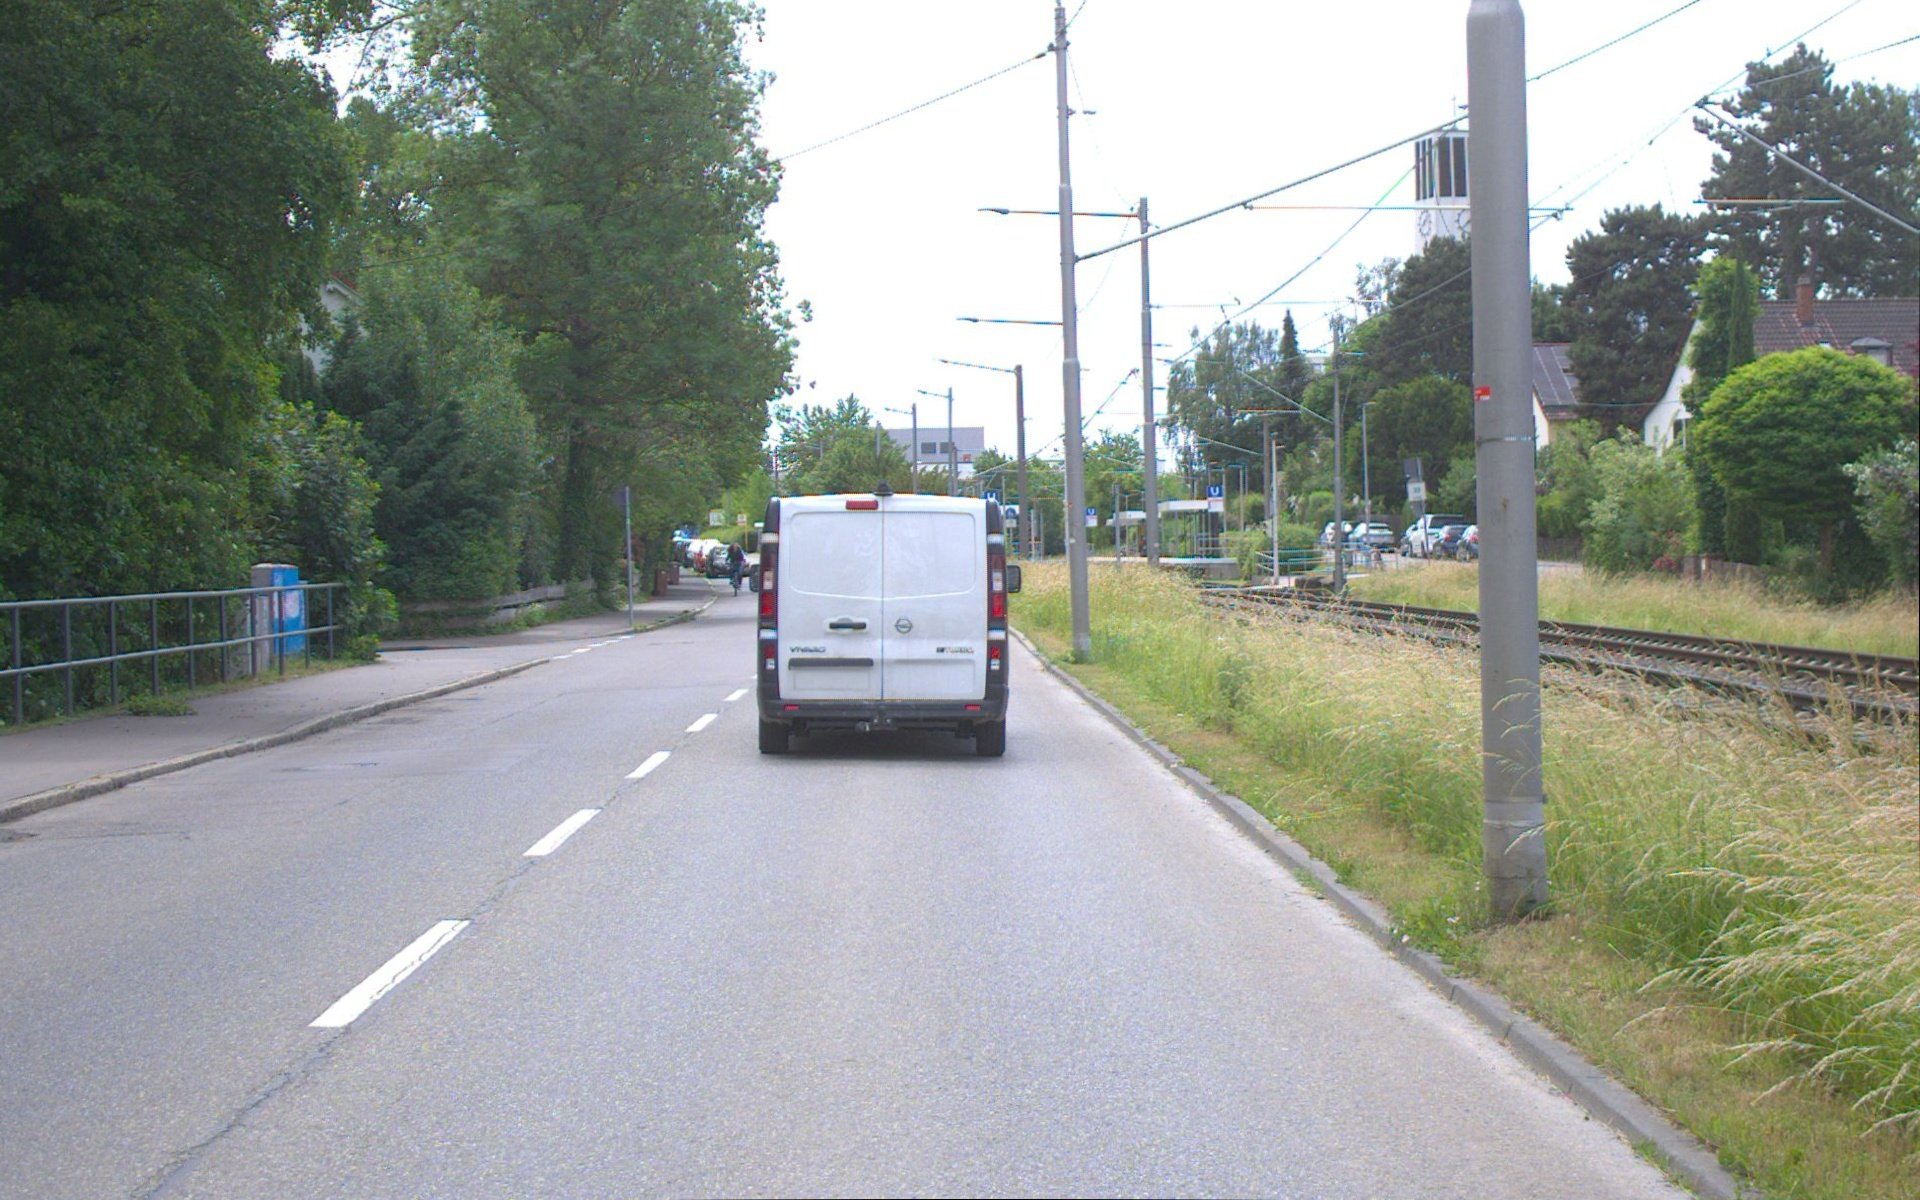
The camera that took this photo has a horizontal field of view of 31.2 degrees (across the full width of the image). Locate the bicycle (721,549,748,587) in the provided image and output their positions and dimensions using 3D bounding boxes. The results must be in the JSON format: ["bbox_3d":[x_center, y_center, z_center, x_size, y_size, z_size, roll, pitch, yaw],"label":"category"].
[{"bbox_3d":[-7.474,-1.067,113.986,0.755,1.222,2.308,-3,1,-1],"label":"bicycle"}]

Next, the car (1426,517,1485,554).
[{"bbox_3d":[20.638,-2.684,143.365,1.883,1.517,4.000,-1,1,0],"label":"car"}]

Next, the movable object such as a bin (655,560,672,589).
[{"bbox_3d":[-9.712,-0.845,112.509,0.513,0.942,0.568,0,1,-1],"label":"movable object such as a bin"}]

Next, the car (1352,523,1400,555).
[{"bbox_3d":[20.556,-3.012,169.983,1.883,1.517,4.000,-1,1,0],"label":"car"}]

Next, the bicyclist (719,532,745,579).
[{"bbox_3d":[-7.576,-1.478,114.158,0.778,1.544,0.870,-1,1,-1],"label":"bicyclist"}]

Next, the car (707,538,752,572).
[{"bbox_3d":[-10.697,-2.095,159.348,1.736,1.499,4.479,-3,1,-7],"label":"car"}]

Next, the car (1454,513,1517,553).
[{"bbox_3d":[20.957,-2.676,137.332,1.883,1.517,4.000,-1,1,0],"label":"car"}]

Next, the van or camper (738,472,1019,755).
[{"bbox_3d":[-0.600,0.072,26.810,1.993,2.007,4.446,0,1,0],"label":"van or camper"}]

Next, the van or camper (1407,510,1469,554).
[{"bbox_3d":[20.553,-2.928,147.962,1.905,1.819,5.048,-1,1,0],"label":"van or camper"}]
